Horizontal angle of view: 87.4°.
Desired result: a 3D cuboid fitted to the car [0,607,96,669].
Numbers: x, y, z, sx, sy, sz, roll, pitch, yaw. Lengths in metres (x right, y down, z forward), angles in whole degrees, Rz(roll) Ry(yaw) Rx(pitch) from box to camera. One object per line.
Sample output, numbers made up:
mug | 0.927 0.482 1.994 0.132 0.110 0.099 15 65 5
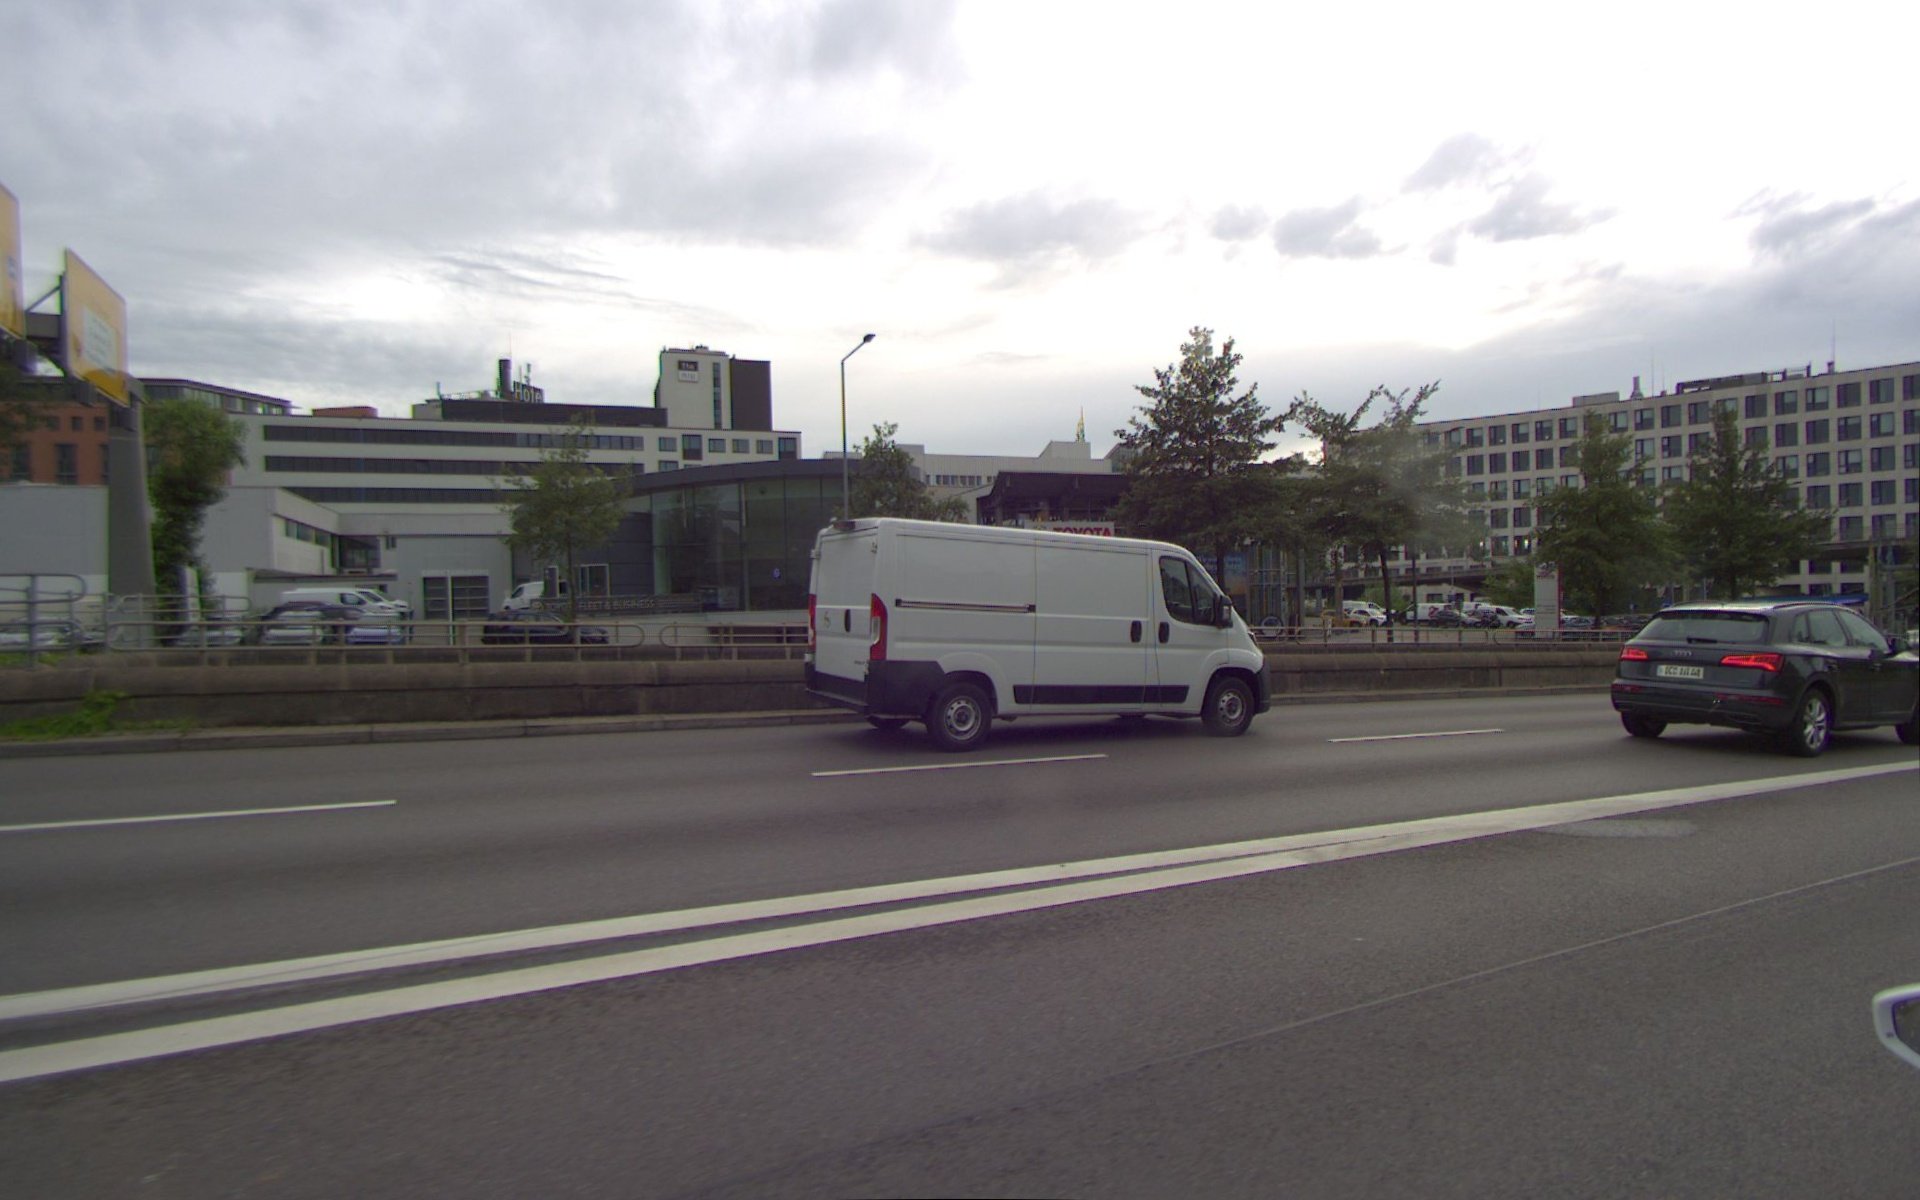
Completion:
car | -29.358 1.165 31.877 1.898 1.707 3.973 -2 2 -26

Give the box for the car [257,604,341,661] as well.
car | -23.084 1.074 35.227 1.898 1.707 3.973 -2 2 -26

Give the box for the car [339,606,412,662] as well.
car | -20.947 1.168 36.130 1.898 1.707 3.973 -2 2 -26

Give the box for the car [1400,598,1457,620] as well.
car | 39.703 0.776 85.170 1.975 1.673 3.969 -2 2 -29

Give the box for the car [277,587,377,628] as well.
car | -32.364 0.348 51.483 3.941 1.907 1.990 -1 2 -22

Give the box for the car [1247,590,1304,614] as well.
car | 23.222 0.137 73.929 3.921 1.673 2.000 0 2 19

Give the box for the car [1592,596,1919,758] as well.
car | 9.848 0.838 12.033 4.688 1.639 1.744 2 -1 -28

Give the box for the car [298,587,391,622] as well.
car | -33.021 0.218 54.039 3.941 1.707 1.913 -2 2 -22

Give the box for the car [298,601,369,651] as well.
car | -24.530 0.967 39.469 1.898 1.707 3.973 -2 2 -26

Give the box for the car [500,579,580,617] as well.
car | -21.482 -0.128 51.370 3.932 1.806 1.917 1 2 33

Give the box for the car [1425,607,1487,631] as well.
car | 38.886 1.460 78.865 1.975 1.673 3.969 -2 2 -29

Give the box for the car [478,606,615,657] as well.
car | -15.704 1.174 38.371 4.420 1.707 1.920 -1 2 -9

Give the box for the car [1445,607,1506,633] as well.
car | 41.148 1.581 80.255 1.971 2.040 3.979 1 0 -22

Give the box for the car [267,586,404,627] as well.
car | -30.695 0.312 49.584 5.454 1.907 1.990 0 1 -22

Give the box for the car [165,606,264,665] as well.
car | -25.168 1.140 34.048 1.898 1.707 3.973 -2 2 -26

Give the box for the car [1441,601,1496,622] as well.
car | 45.016 1.018 88.978 1.799 1.673 3.967 -2 2 -30

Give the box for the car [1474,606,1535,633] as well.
car | 43.619 1.541 80.563 1.971 1.901 3.979 -2 2 -22

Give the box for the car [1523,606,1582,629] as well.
car | 50.130 1.465 85.064 1.971 1.673 3.979 -2 2 -22

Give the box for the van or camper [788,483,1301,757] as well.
van or camper | 1.031 0.243 11.311 5.461 2.471 2.195 1 -1 -28

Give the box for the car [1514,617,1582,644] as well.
car | 40.656 2.083 69.493 3.932 1.673 1.994 2 1 34

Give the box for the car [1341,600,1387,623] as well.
car | 38.486 1.118 95.651 3.925 2.076 1.998 0 2 25

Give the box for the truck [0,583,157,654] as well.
truck | -36.012 0.700 38.818 7.310 2.562 2.358 -2 2 -25

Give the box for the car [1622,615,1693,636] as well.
car | 51.860 1.914 74.793 1.824 1.372 3.975 1 1 -25

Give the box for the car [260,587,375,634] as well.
car | -28.393 0.430 44.537 3.941 1.907 1.898 -1 2 -22

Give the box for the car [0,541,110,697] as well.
car | -11.398 0.208 10.496 3.505 1.612 1.680 -2 2 -29

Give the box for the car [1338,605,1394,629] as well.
car | 32.633 1.329 80.826 1.971 1.673 3.979 -2 2 -22
